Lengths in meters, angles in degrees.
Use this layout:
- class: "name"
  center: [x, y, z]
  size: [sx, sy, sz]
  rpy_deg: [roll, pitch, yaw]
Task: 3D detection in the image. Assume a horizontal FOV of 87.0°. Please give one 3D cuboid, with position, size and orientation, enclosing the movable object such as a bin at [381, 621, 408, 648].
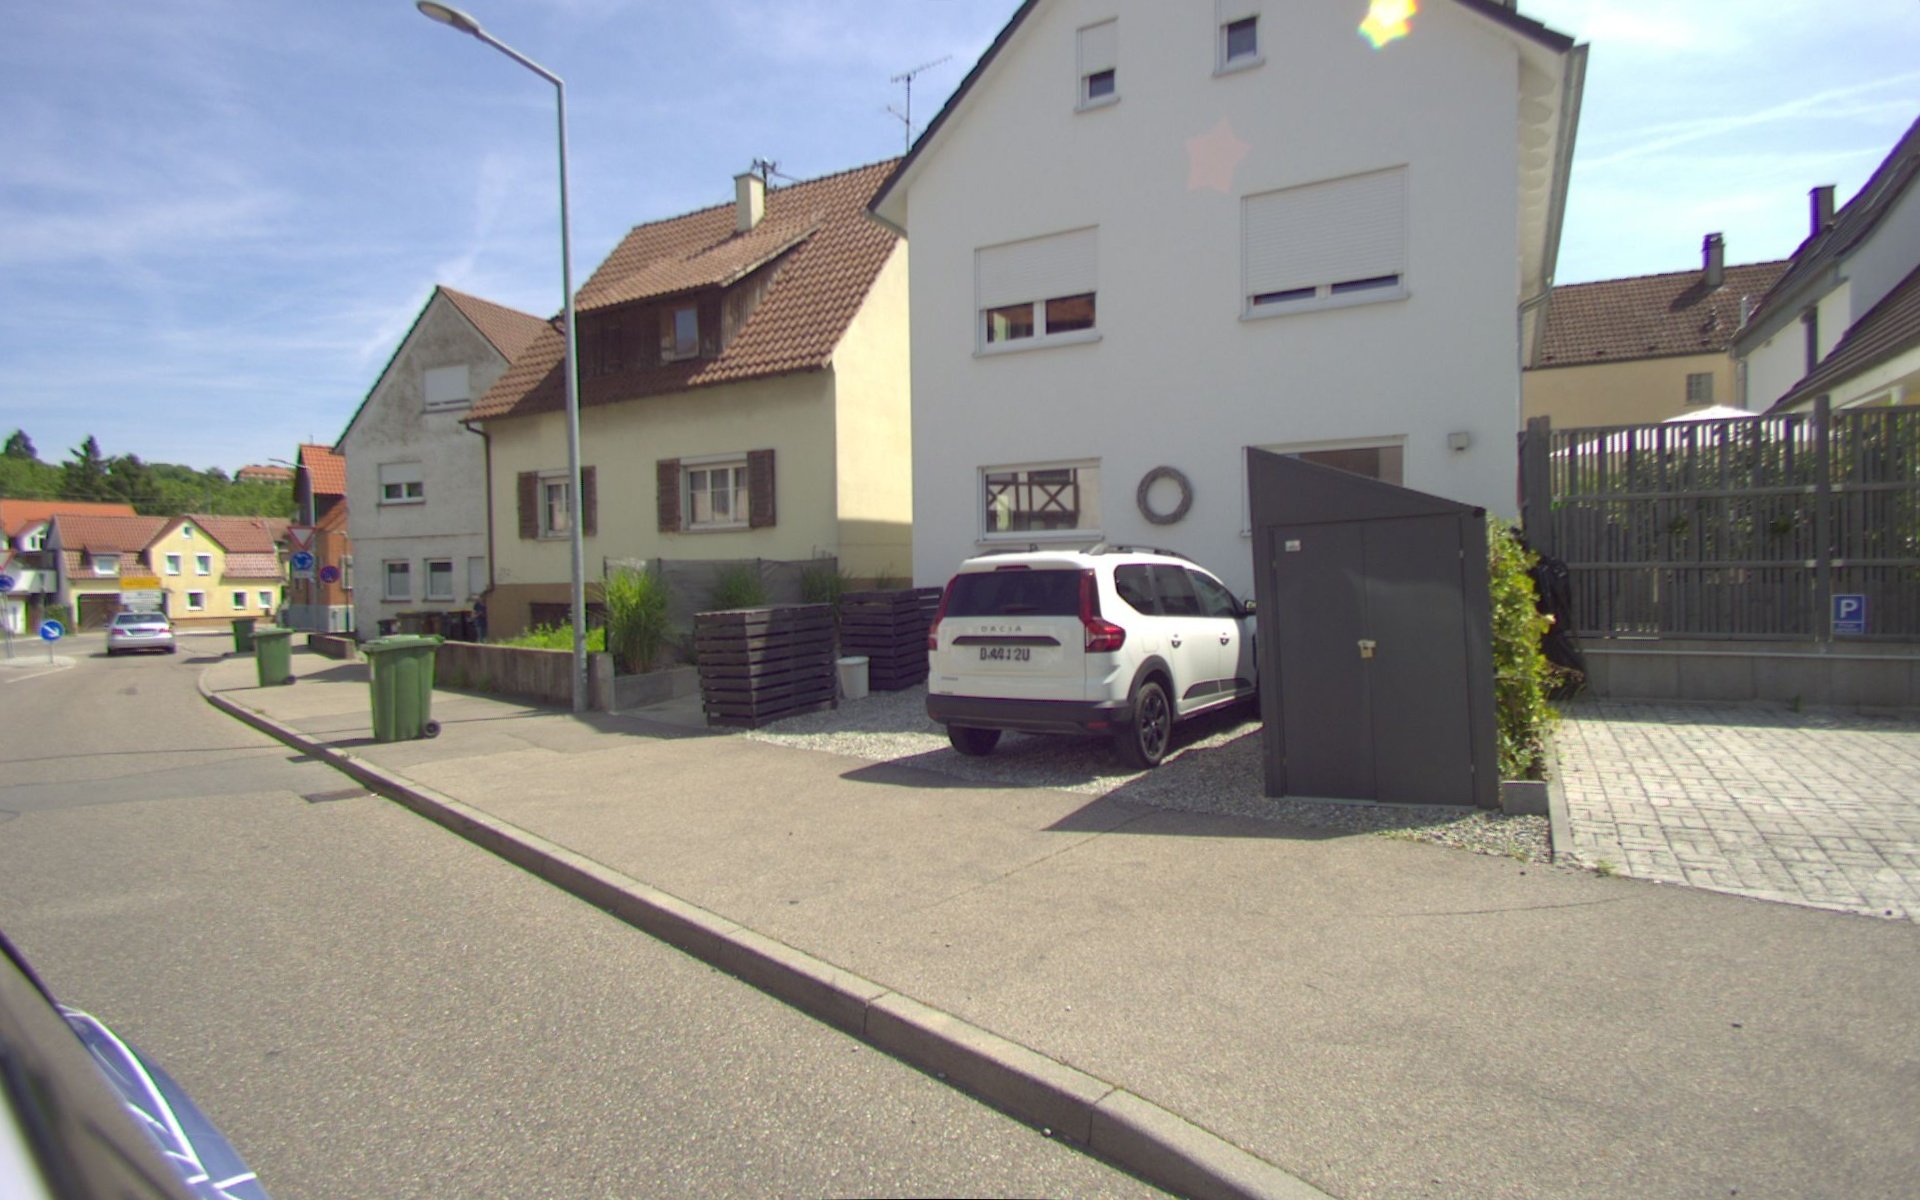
- class: "movable object such as a bin"
  center: [-17.488, 1.060, 31.305]
  size: [0.523, 0.786, 0.483]
  rpy_deg: [-2, 1, 21]

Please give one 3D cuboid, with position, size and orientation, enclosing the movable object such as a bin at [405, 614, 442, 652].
- class: "movable object such as a bin"
  center: [-16.284, 1.002, 30.724]
  size: [0.693, 1.094, 0.680]
  rpy_deg: [-2, 1, 21]

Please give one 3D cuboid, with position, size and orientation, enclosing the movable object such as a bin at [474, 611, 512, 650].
- class: "movable object such as a bin"
  center: [-13.685, 0.885, 29.686]
  size: [0.655, 1.090, 0.736]
  rpy_deg: [-2, 1, 21]

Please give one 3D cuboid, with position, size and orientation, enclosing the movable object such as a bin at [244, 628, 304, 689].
- class: "movable object such as a bin"
  center: [-12.741, 1.070, 18.798]
  size: [0.651, 1.065, 0.782]
  rpy_deg: [-2, 0, 44]

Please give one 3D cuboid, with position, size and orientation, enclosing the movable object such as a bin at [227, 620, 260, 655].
- class: "movable object such as a bin"
  center: [-22.780, 1.171, 32.188]
  size: [0.797, 1.053, 0.829]
  rpy_deg: [-3, 0, -32]

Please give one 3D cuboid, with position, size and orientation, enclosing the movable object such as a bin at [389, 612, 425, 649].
- class: "movable object such as a bin"
  center: [-16.917, 0.928, 30.972]
  size: [0.640, 1.094, 0.680]
  rpy_deg: [-2, 1, 21]

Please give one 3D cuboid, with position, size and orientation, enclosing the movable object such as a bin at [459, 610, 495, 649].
- class: "movable object such as a bin"
  center: [-14.279, 0.872, 29.918]
  size: [0.621, 1.090, 0.680]
  rpy_deg: [-2, 1, 21]

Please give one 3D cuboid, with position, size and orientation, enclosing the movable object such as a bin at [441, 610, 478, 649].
- class: "movable object such as a bin"
  center: [-14.914, 0.877, 30.177]
  size: [0.693, 1.090, 0.680]
  rpy_deg: [-2, 1, 21]

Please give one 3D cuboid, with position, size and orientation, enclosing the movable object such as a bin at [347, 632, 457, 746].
- class: "movable object such as a bin"
  center: [-5.855, 0.903, 10.618]
  size: [0.816, 1.085, 0.819]
  rpy_deg: [-3, 0, -42]

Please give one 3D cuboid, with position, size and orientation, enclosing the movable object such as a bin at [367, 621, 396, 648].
- class: "movable object such as a bin"
  center: [-18.041, 1.075, 31.552]
  size: [0.642, 0.811, 0.483]
  rpy_deg: [-2, 1, 23]

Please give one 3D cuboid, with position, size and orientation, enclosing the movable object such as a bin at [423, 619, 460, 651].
- class: "movable object such as a bin"
  center: [-15.611, 1.051, 30.461]
  size: [0.693, 0.903, 0.680]
  rpy_deg: [-2, 1, 21]

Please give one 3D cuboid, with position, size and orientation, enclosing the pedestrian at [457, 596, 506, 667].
- class: "pedestrian"
  center: [-11.121, 0.728, 23.514]
  size: [0.627, 1.586, 0.769]
  rpy_deg: [-2, 0, 39]

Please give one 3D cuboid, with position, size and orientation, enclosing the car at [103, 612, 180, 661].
- class: "car"
  center: [-28.314, 1.225, 35.085]
  size: [1.930, 1.497, 4.468]
  rpy_deg: [-2, 0, -38]

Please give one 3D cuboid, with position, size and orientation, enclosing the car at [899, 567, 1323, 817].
- class: "car"
  center: [1.597, 0.562, 8.999]
  size: [1.995, 1.634, 4.364]
  rpy_deg: [-1, 1, 35]
